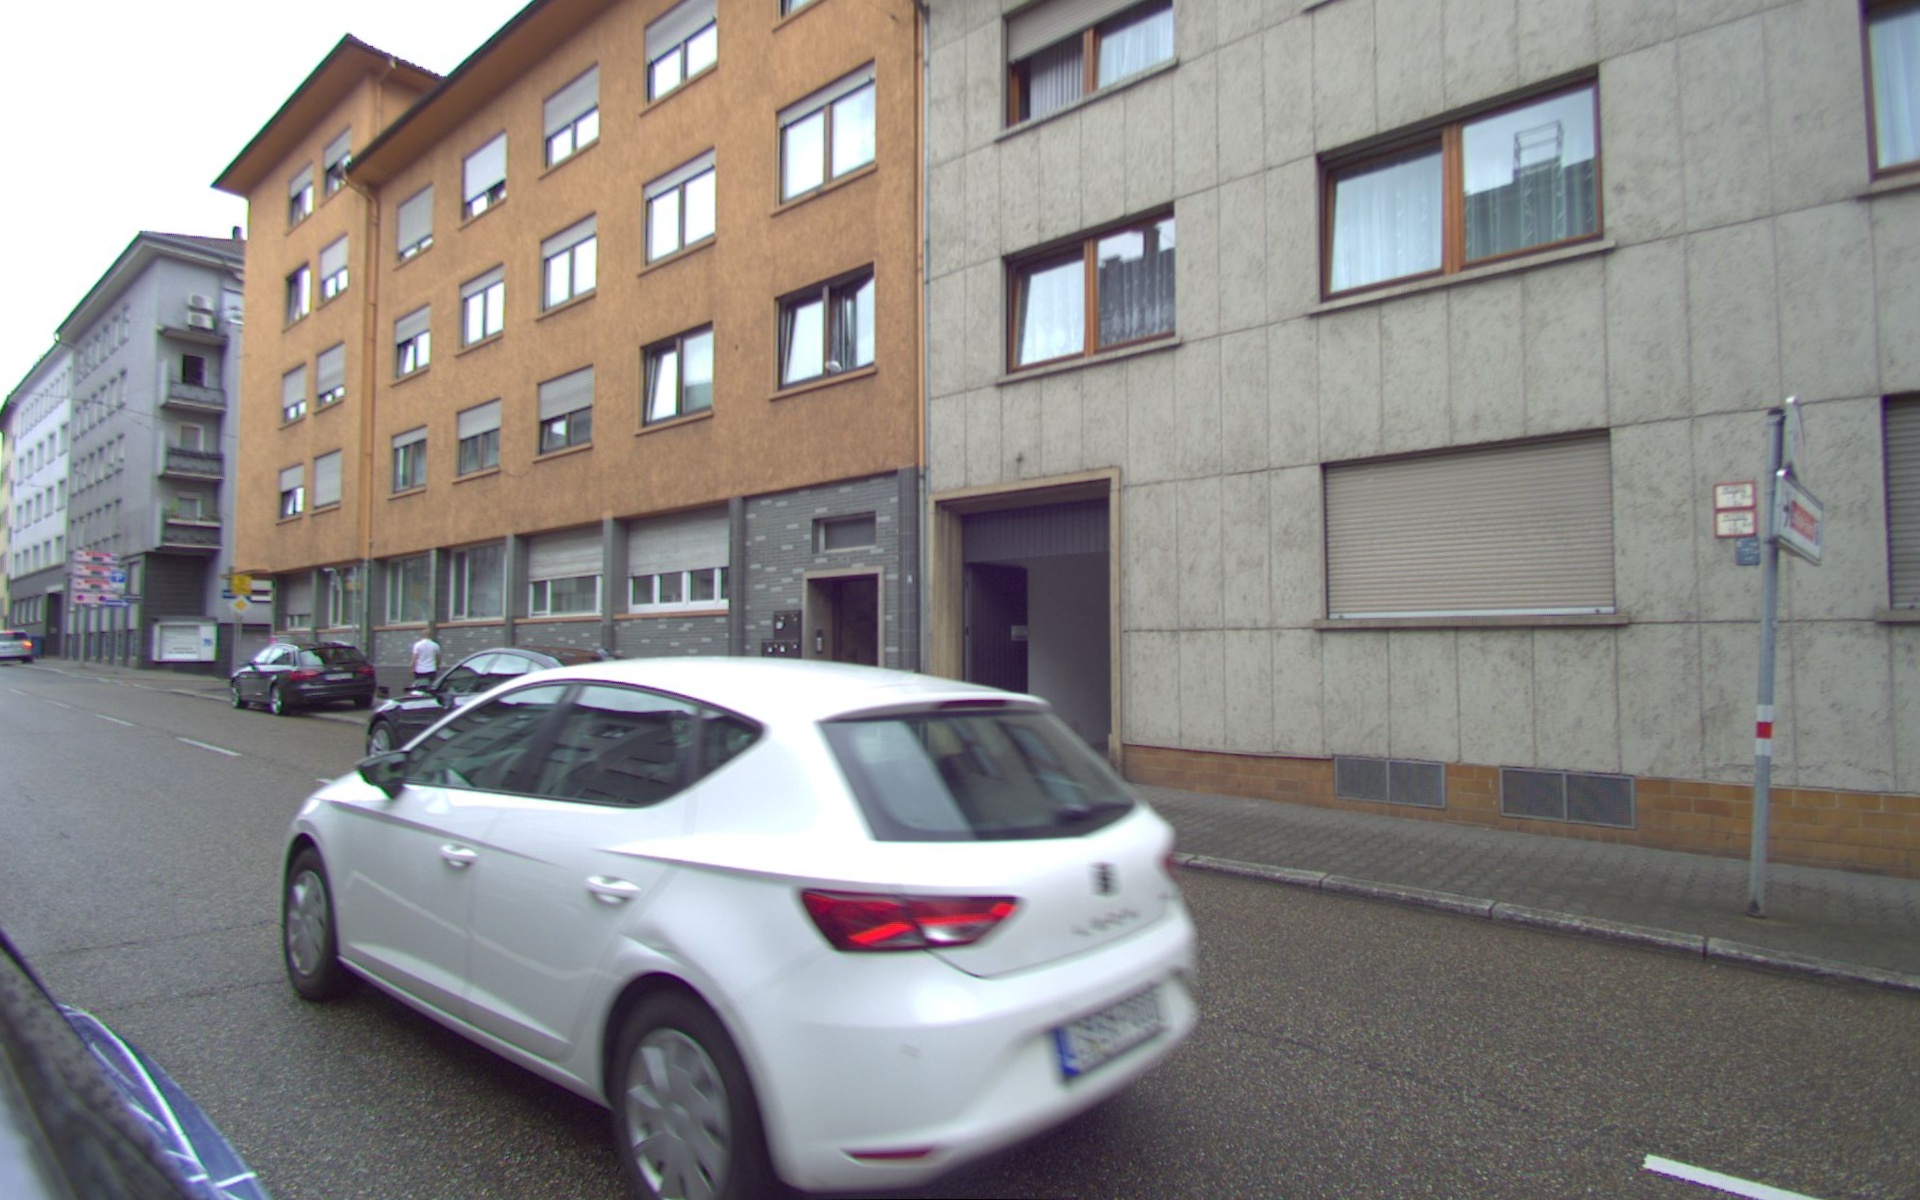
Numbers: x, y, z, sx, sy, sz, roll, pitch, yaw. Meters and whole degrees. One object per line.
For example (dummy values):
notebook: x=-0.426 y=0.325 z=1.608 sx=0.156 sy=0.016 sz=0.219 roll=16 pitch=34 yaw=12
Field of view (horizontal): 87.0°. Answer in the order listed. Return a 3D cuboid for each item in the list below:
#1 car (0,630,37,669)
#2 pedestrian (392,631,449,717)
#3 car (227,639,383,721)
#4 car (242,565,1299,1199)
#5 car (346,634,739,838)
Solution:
car: x=-46.479 y=2.381 z=49.275 sx=4.216 sy=1.735 sz=1.832 roll=-1 pitch=0 yaw=41
pedestrian: x=-10.983 y=1.481 z=20.594 sx=0.757 sy=1.652 sz=1.024 roll=-1 pitch=0 yaw=-44
car: x=-14.254 y=1.650 z=21.937 sx=4.216 sy=1.485 sz=1.776 roll=-1 pitch=0 yaw=41
car: x=-1.035 y=0.782 z=3.834 sx=4.050 sy=1.551 sz=1.726 roll=-1 pitch=-4 yaw=40
car: x=-4.312 y=1.212 z=10.108 sx=4.433 sy=1.551 sz=1.677 roll=-1 pitch=-7 yaw=40
